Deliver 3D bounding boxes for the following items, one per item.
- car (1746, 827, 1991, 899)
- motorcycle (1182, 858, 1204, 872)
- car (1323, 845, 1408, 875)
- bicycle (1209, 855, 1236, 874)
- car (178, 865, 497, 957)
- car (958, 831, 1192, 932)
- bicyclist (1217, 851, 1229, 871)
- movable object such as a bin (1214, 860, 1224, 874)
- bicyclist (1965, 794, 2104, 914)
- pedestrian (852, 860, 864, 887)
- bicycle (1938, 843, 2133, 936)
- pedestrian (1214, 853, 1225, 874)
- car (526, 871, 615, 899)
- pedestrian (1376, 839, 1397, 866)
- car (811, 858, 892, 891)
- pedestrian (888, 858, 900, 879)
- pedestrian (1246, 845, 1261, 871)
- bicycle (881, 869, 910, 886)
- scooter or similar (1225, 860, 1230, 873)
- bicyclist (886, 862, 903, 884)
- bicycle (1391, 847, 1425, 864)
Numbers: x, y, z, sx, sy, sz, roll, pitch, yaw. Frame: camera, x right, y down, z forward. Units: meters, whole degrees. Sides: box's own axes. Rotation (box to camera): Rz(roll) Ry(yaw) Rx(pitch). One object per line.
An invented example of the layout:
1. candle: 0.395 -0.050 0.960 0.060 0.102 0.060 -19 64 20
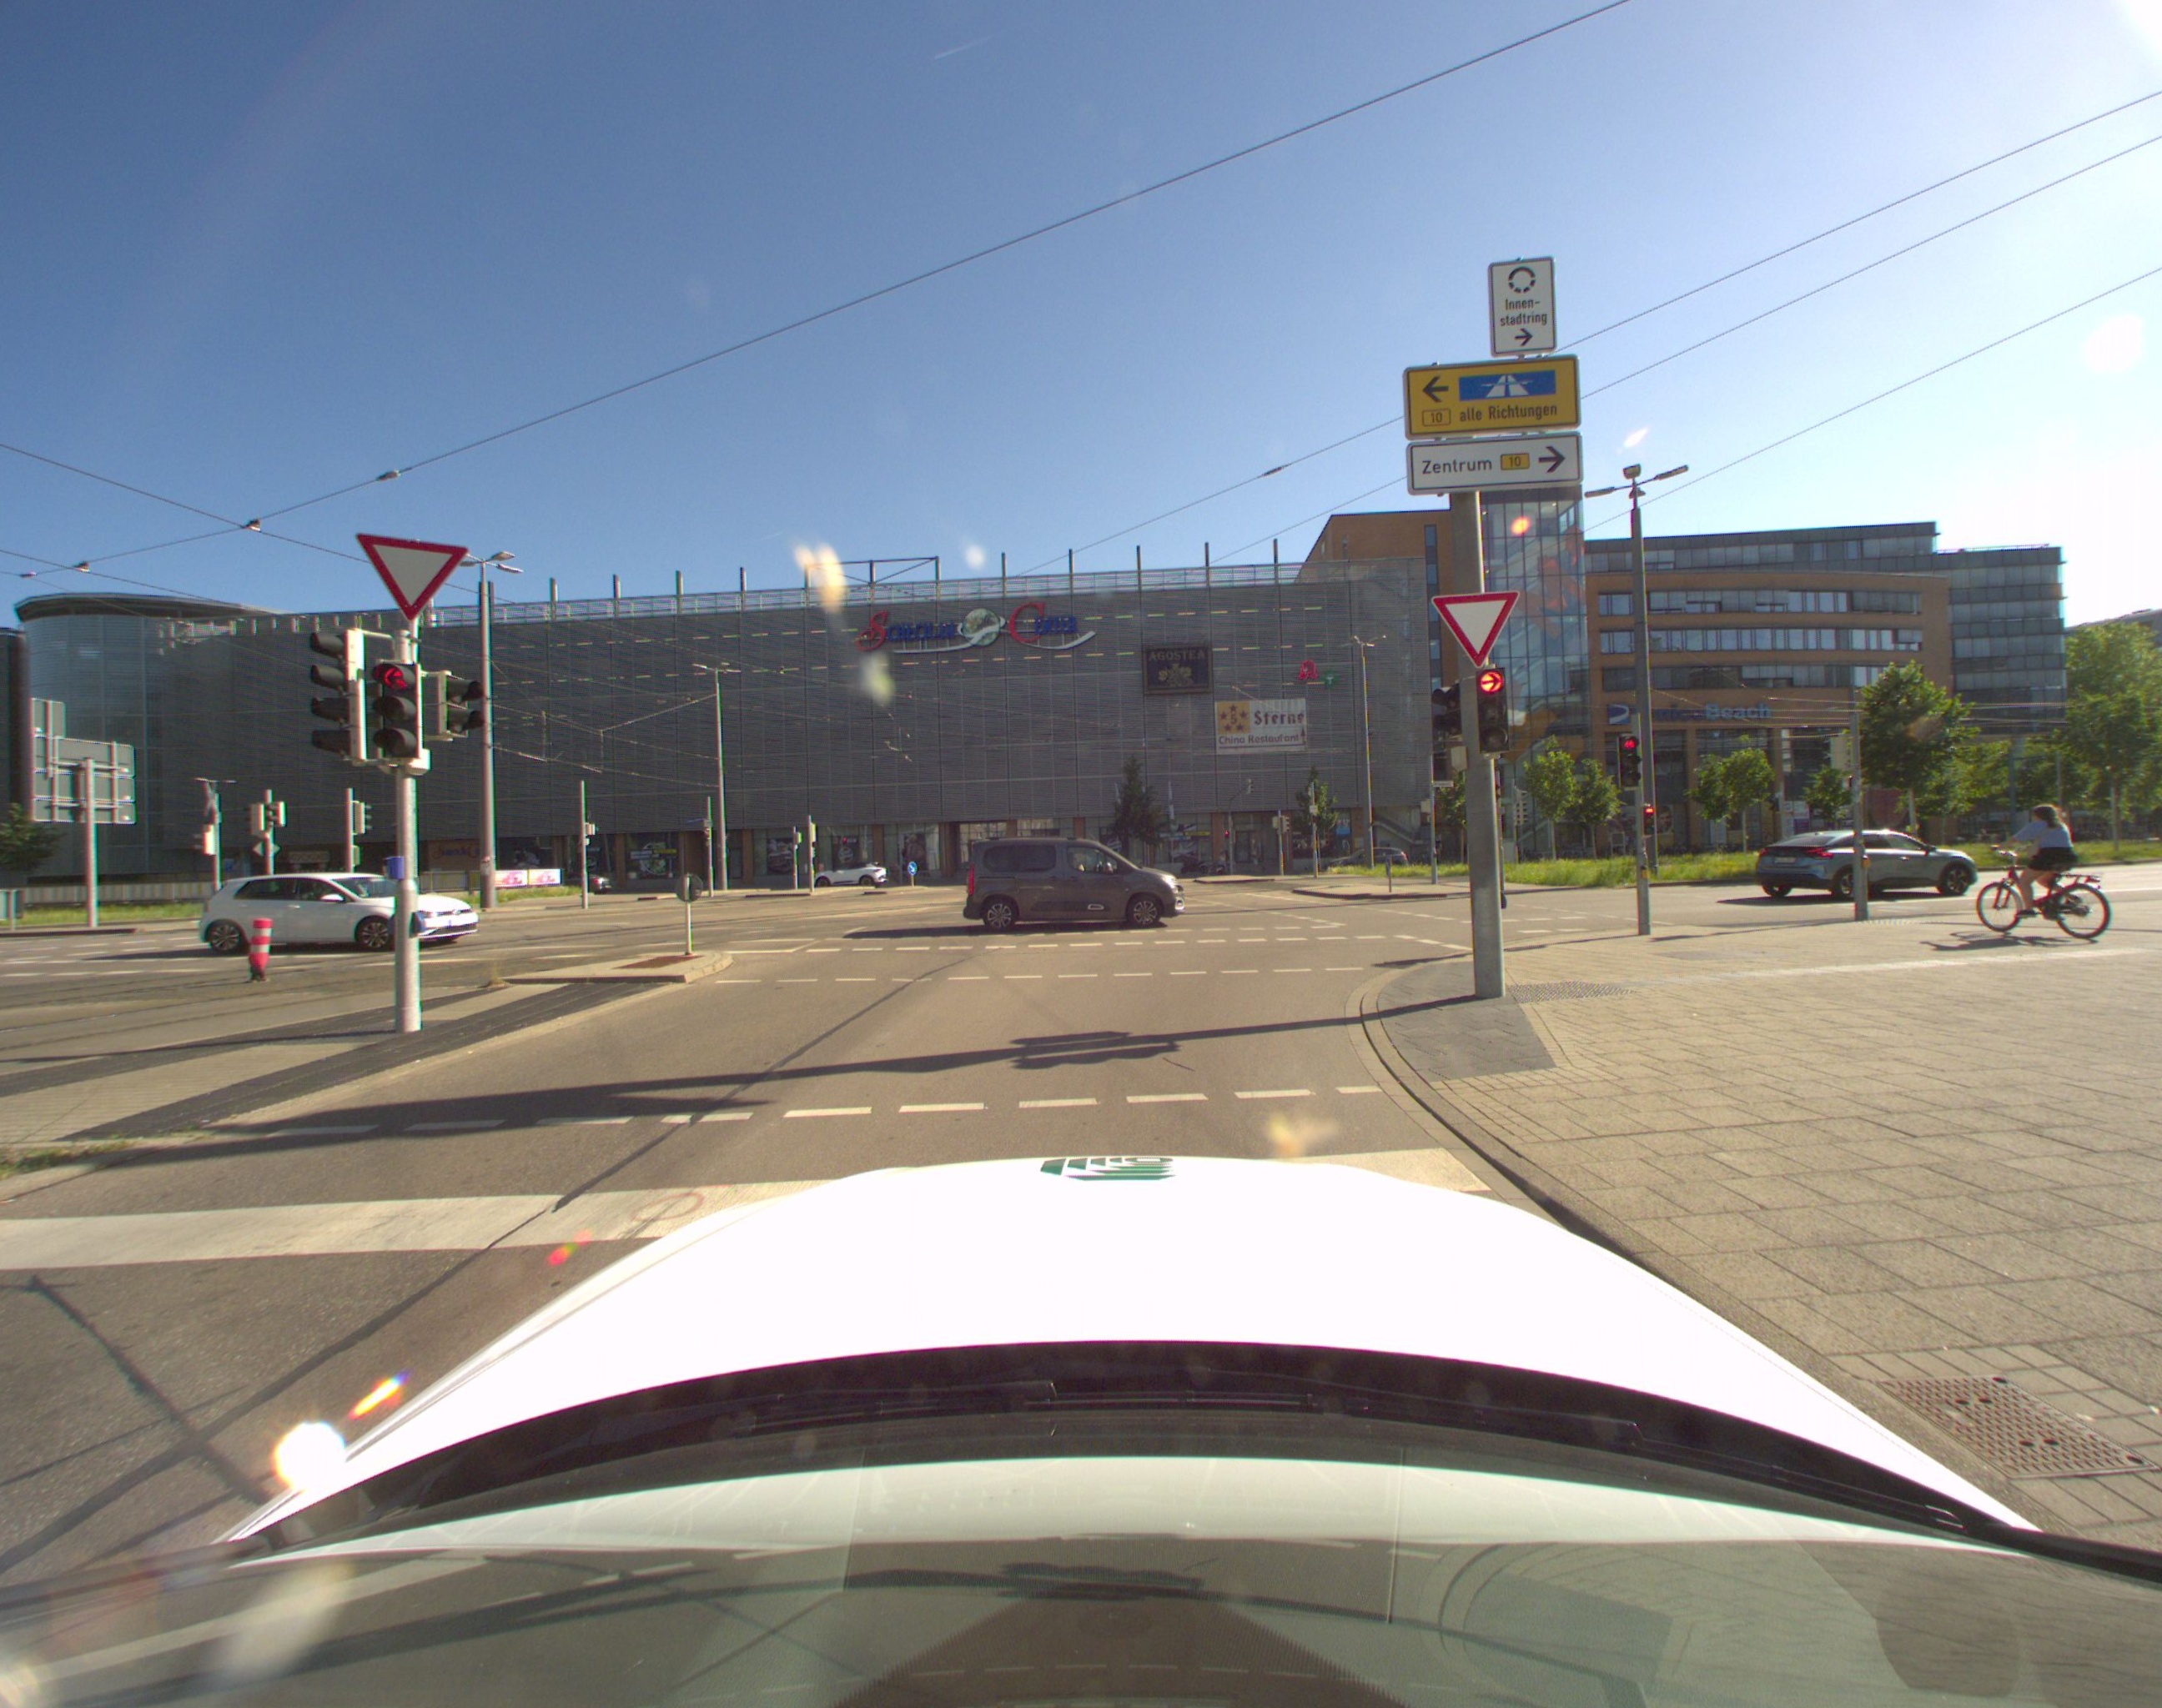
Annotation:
1. car: 17.798 0.185 18.490 4.260 1.514 1.705 -1 0 -7
2. motorcycle: 8.313 0.827 60.591 1.630 1.004 0.448 0 0 8
3. car: 15.882 0.344 45.615 4.132 1.470 1.841 2 -1 0
4. bicycle: 10.079 0.758 58.000 1.850 1.217 0.569 -2 1 1
5. car: -14.029 1.037 15.580 4.270 1.472 1.864 -2 0 -1
6. car: -0.152 0.517 16.380 4.452 1.791 1.706 -2 0 -6
7. bicyclist: 10.129 0.486 57.994 0.750 1.386 0.566 -2 1 1
8. movable object such as a bin: 9.272 0.878 54.735 0.608 0.904 0.972 -1 -1 12
9. bicyclist: 12.065 0.022 10.344 0.662 1.436 0.944 -2 -3 15
10. pedestrian: -15.202 1.308 55.458 0.695 1.797 0.727 -3 0 -14
11. bicycle: 12.088 0.443 10.412 0.662 1.072 1.827 -1 -2 15
12. pedestrian: 9.405 0.627 55.198 0.650 1.414 0.853 -1 -1 12
13. car: -31.480 1.903 50.290 4.274 1.584 1.841 2 -1 1
14. pedestrian: 21.895 -0.096 58.442 1.010 1.828 1.034 -3 0 -4
15. car: -13.900 1.255 49.476 4.311 1.863 1.841 -1 -1 1
16. pedestrian: -14.242 1.125 62.108 0.654 1.601 0.597 -1 -1 20
17. pedestrian: 12.560 0.283 59.327 0.945 1.829 0.847 -3 -4 7
18. bicycle: -12.585 1.582 55.306 0.562 1.086 1.874 -1 2 45
19. scooter or similar: 9.920 0.865 55.003 0.293 0.873 1.007 -1 -1 12
20. bicyclist: -12.628 1.271 55.234 0.667 1.427 0.855 -1 2 45
21. bicycle: 24.343 0.107 60.613 2.247 1.296 0.606 0 -1 0
